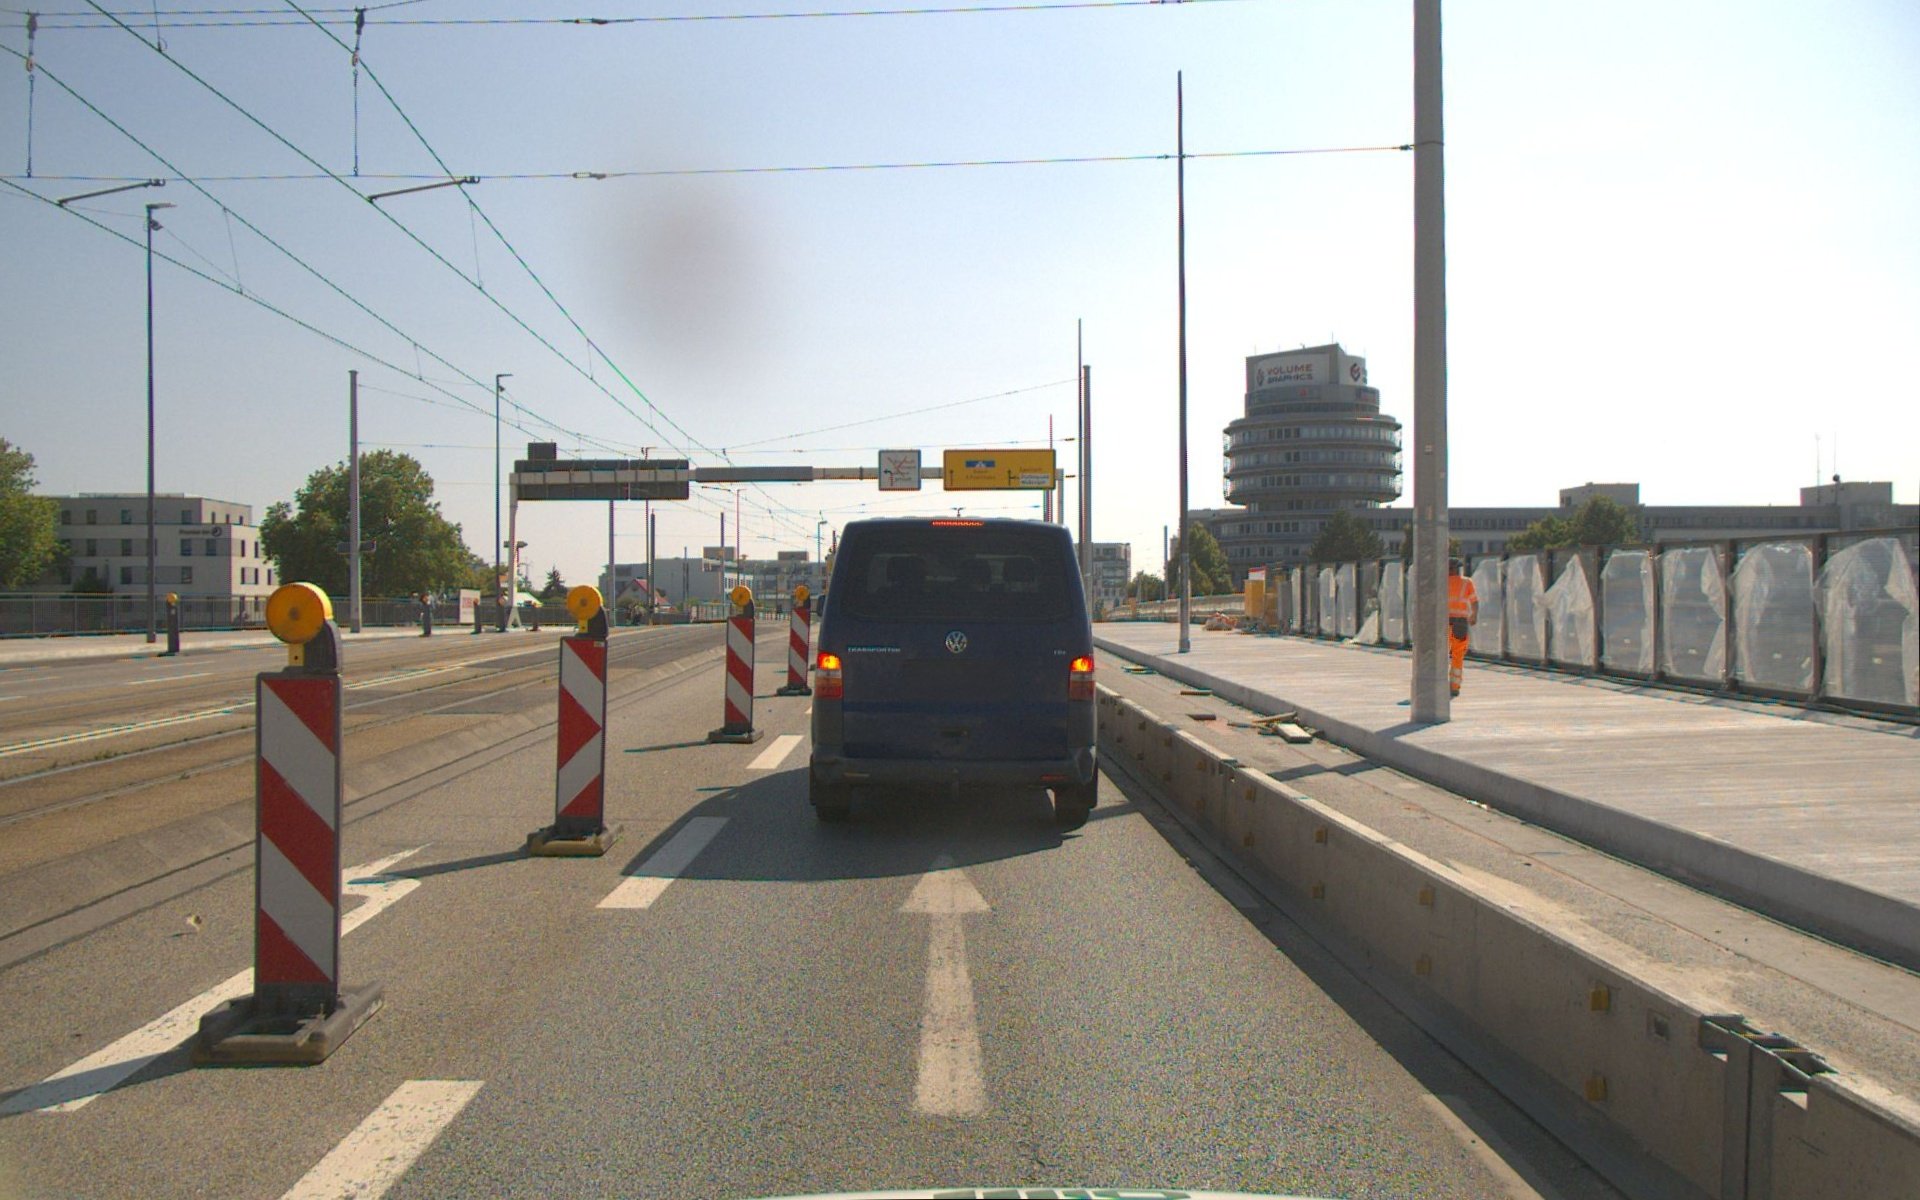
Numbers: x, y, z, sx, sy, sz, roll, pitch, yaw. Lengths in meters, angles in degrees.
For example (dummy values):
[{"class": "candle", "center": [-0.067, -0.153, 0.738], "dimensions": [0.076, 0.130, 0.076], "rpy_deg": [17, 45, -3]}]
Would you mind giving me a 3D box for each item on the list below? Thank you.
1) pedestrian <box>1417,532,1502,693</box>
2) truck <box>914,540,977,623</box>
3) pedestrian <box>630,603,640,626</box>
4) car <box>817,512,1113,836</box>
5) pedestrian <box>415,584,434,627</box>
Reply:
[{"class": "pedestrian", "center": [6.291, 0.159, 20.878], "dimensions": [0.766, 1.969, 0.799], "rpy_deg": [-2, 0, -1]}, {"class": "truck", "center": [-0.626, -0.835, 69.677], "dimensions": [2.410, 3.189, 11.215], "rpy_deg": [0, 1, -1]}, {"class": "pedestrian", "center": [-24.829, 1.114, 126.534], "dimensions": [0.621, 1.783, 0.752], "rpy_deg": [1, 0, -1]}, {"class": "car", "center": [-0.085, 0.418, 11.972], "dimensions": [1.780, 1.939, 4.051], "rpy_deg": [0, 1, -4]}, {"class": "pedestrian", "center": [-24.090, 0.245, 74.421], "dimensions": [0.621, 1.926, 0.752], "rpy_deg": [1, 0, -1]}]
